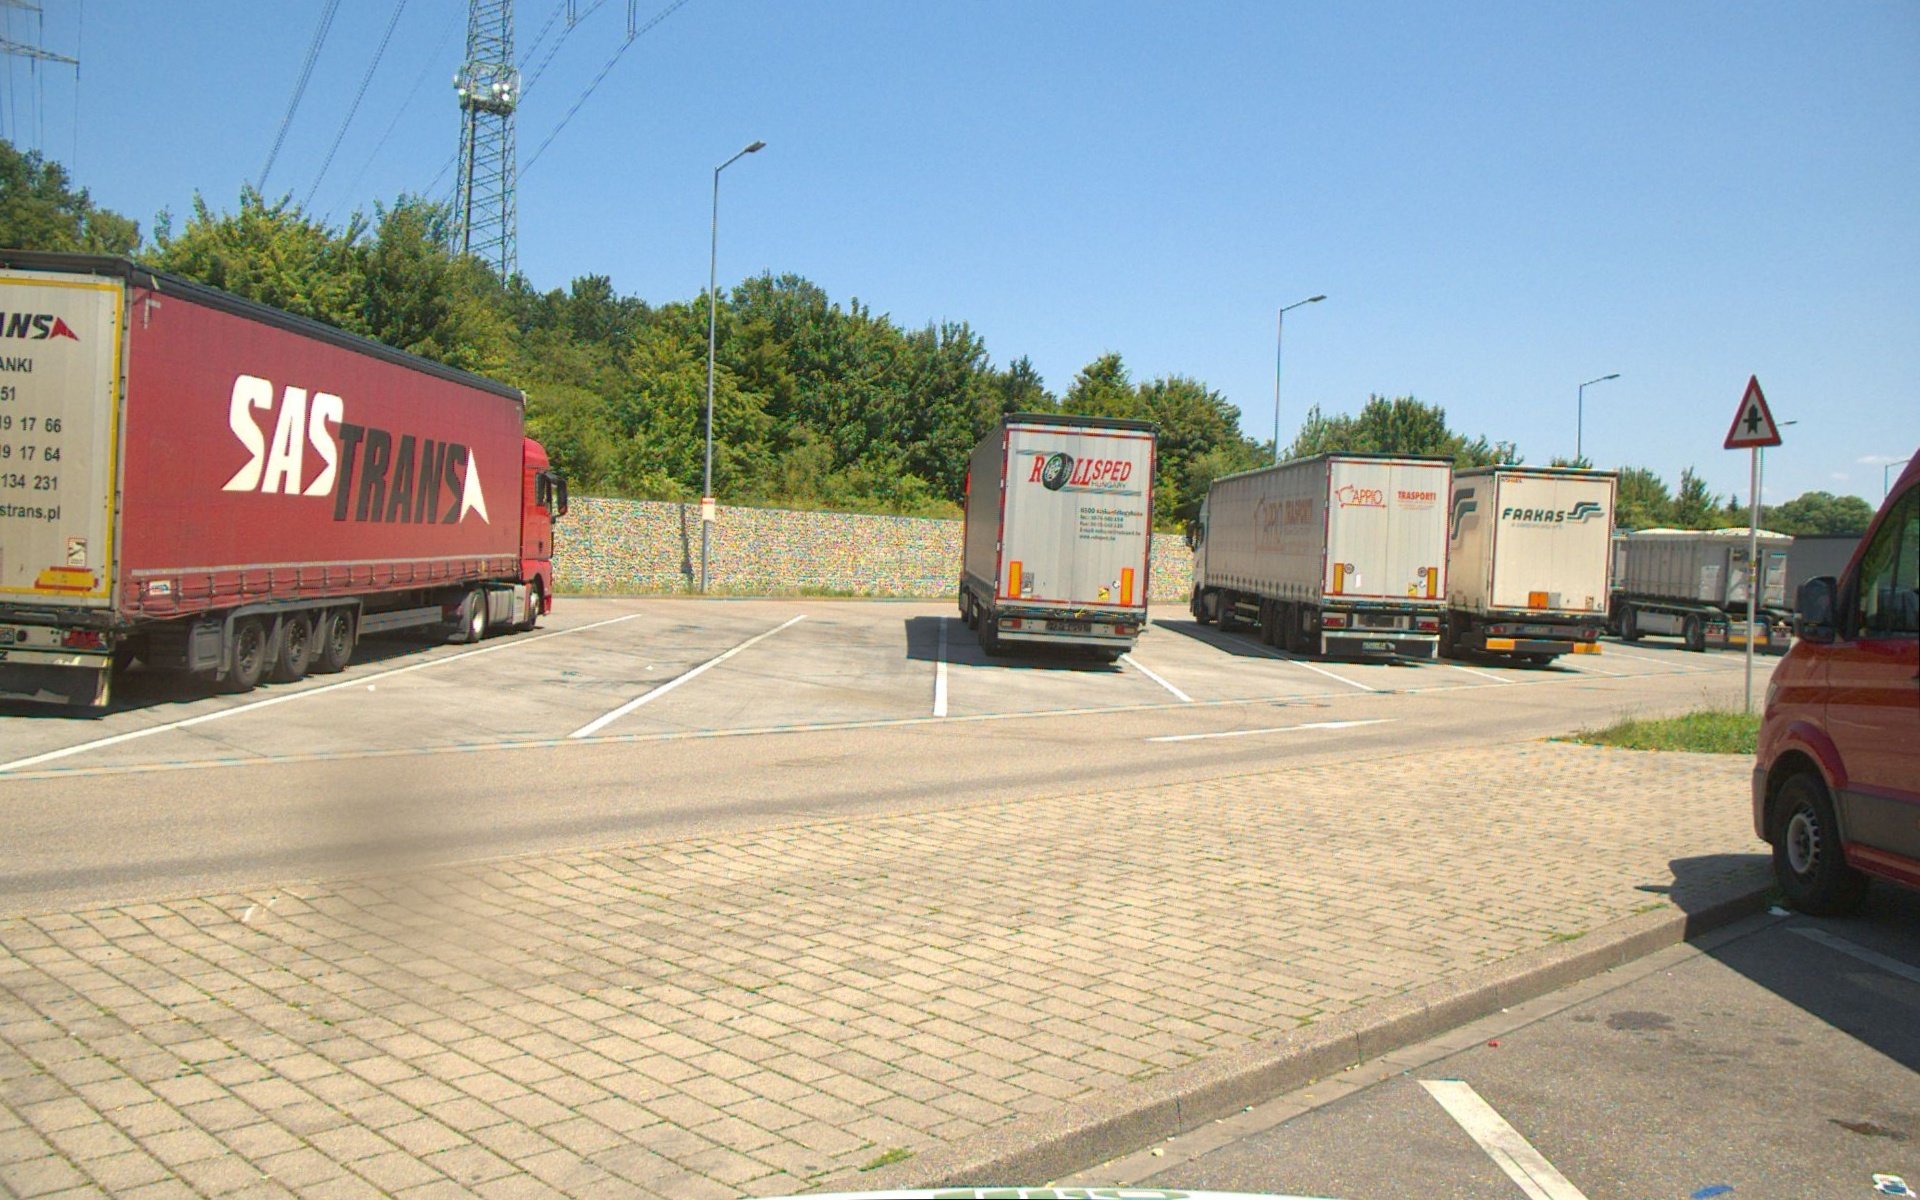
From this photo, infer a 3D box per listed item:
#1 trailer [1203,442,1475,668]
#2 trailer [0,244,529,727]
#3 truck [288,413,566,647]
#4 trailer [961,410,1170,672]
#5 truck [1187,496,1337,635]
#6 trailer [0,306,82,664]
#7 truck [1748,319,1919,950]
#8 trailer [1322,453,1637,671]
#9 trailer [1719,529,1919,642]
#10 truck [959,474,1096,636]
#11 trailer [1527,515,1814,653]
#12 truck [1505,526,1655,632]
[{"bbox_3d":[8.254,-1.104,38.501,2.800,4.180,13.762,2,2,-1],"label":"trailer"},{"bbox_3d":[-8.687,-1.272,21.251,2.764,4.141,13.763,2,2,-1],"label":"trailer"},{"bbox_3d":[-8.795,-1.164,28.067,2.755,3.421,5.974,2,2,-1],"label":"truck"},{"bbox_3d":[1.680,-1.177,33.148,2.800,4.040,13.761,2,2,-2],"label":"trailer"},{"bbox_3d":[8.132,-0.987,45.264,2.808,3.421,5.974,2,2,-1],"label":"truck"},{"bbox_3d":[-12.484,-1.260,15.795,2.651,4.173,10.389,2,2,-1],"label":"trailer"},{"bbox_3d":[4.997,0.157,5.517,1.969,2.697,6.457,1,0,3],"label":"truck"},{"bbox_3d":[11.774,-0.993,39.565,2.800,4.180,13.762,2,2,-1],"label":"trailer"},{"bbox_3d":[34.794,-0.712,65.443,2.800,3.972,13.762,2,2,-1],"label":"trailer"},{"bbox_3d":[1.479,-1.094,39.345,2.808,3.421,5.974,2,2,-1],"label":"truck"},{"bbox_3d":[21.841,-0.683,52.244,2.800,3.662,13.762,2,2,-1],"label":"trailer"},{"bbox_3d":[21.743,-0.798,58.339,2.808,3.421,5.974,2,2,-1],"label":"truck"}]
